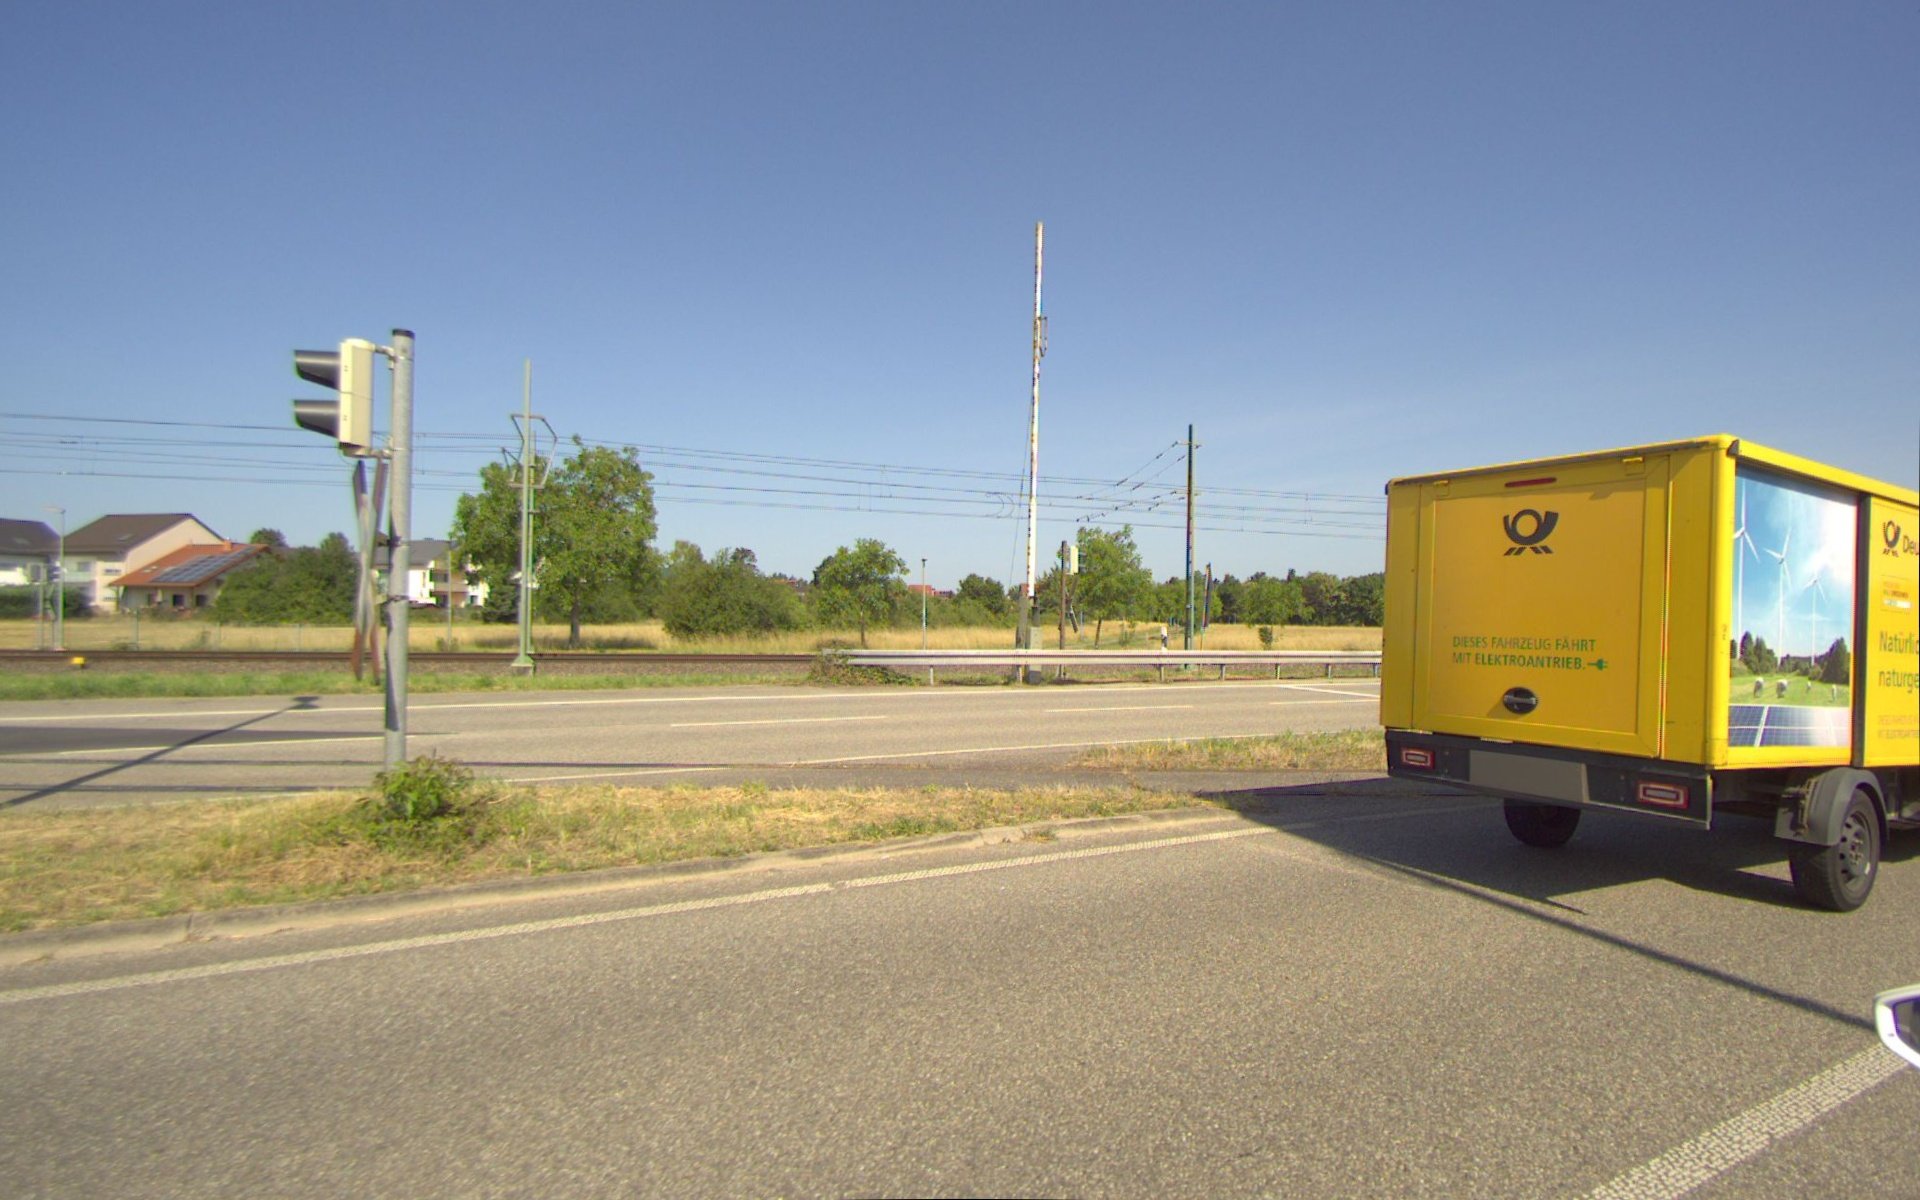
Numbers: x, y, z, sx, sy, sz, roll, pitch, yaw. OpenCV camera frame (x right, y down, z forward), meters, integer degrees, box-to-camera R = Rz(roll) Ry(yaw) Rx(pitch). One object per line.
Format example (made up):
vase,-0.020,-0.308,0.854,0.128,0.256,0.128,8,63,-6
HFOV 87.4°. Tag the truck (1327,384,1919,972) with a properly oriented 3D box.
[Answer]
truck,5.289,0.389,6.650,5.847,2.490,2.102,1,0,-30
